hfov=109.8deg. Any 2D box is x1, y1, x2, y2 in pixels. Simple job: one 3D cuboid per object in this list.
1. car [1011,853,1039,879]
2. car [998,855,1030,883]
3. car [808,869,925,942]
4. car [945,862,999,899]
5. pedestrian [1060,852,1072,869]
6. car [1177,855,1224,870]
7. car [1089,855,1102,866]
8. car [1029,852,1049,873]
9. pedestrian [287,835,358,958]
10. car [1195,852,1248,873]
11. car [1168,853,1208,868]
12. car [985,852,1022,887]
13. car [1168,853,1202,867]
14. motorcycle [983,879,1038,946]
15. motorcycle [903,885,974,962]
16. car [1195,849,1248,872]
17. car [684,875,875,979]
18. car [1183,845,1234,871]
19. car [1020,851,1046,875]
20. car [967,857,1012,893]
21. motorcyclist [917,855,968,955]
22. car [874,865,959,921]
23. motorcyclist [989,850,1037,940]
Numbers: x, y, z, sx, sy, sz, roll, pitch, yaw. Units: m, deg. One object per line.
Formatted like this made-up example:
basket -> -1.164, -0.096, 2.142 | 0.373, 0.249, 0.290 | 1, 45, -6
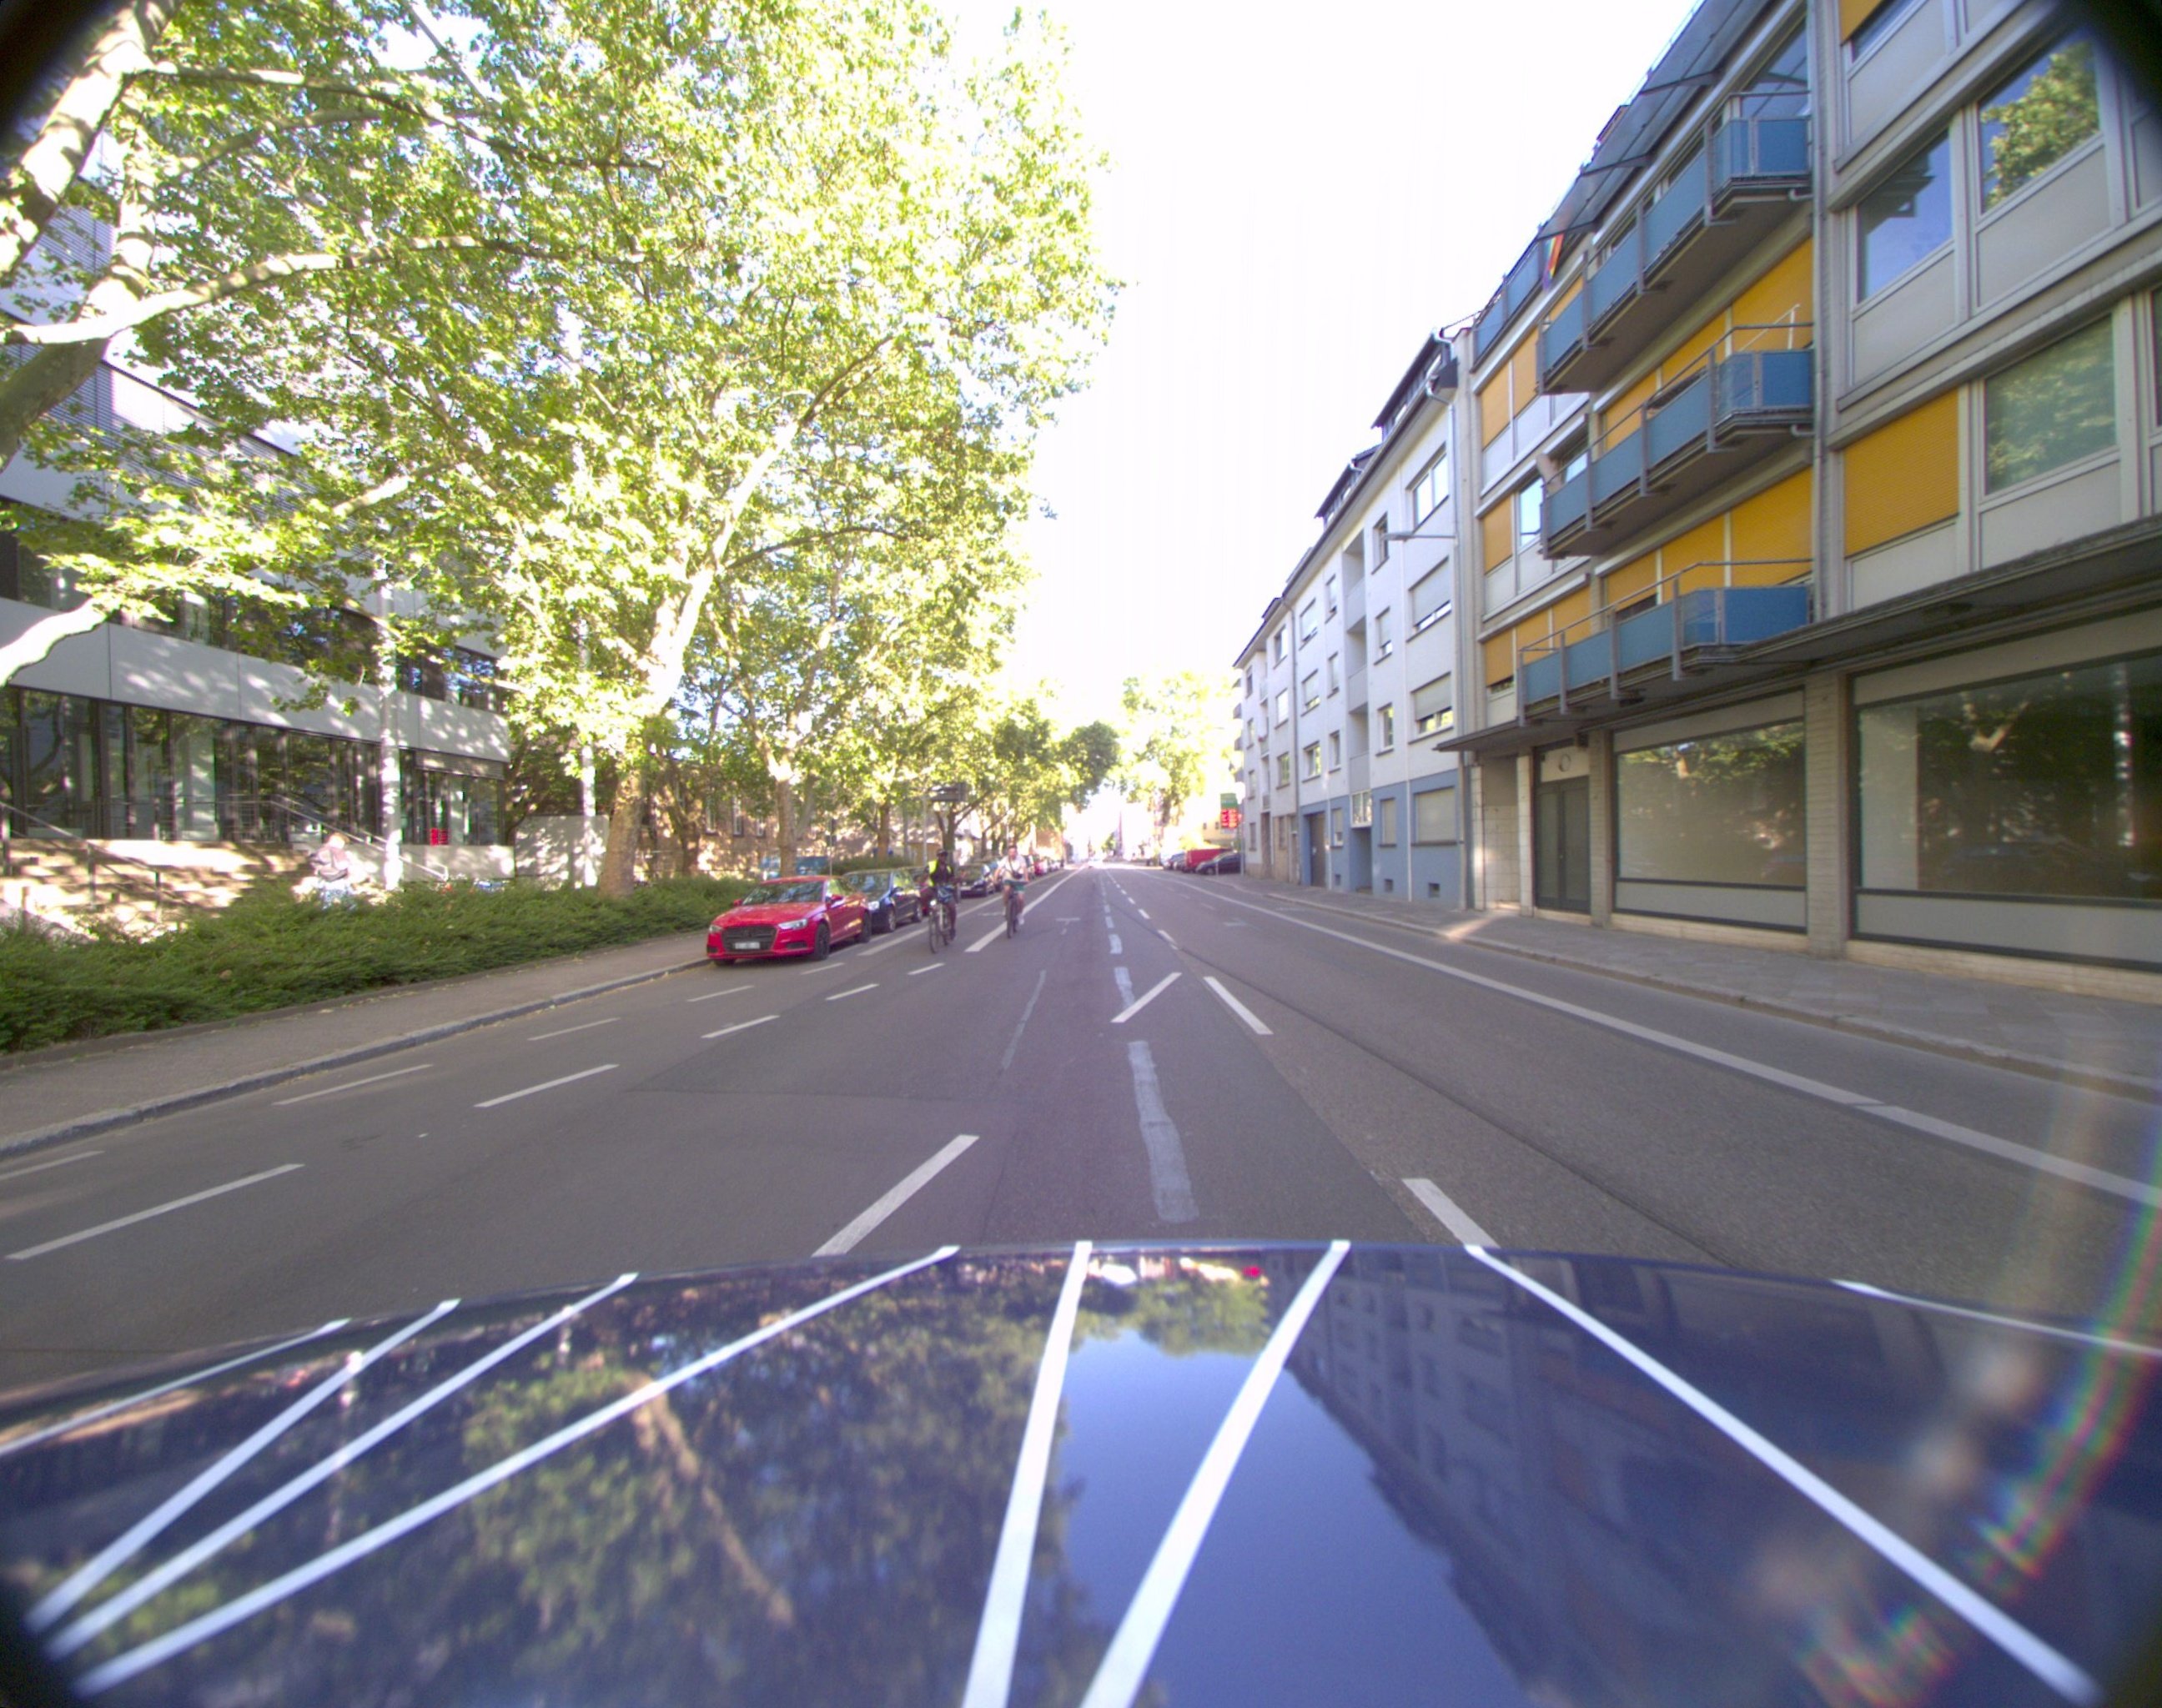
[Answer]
car -> -4.040, 0.814, 55.236 | 1.634, 1.725, 3.769 | -2, 1, 0
car -> -4.356, 0.939, 50.109 | 1.634, 1.604, 4.576 | -2, 1, 0
car -> -5.052, 1.162, 18.408 | 1.669, 1.410, 3.697 | -2, 1, 1
car -> -4.695, 1.111, 33.233 | 1.692, 1.414, 3.923 | -2, 1, 0
pedestrian -> -1.475, 0.659, 76.534 | 0.827, 1.727, 0.894 | -2, 1, 29
car -> 9.810, 0.691, 62.585 | 3.687, 1.122, 1.345 | -2, 1, 2
car -> 2.051, 0.900, 106.878 | 1.752, 1.423, 4.266 | -2, 0, 1
car -> -3.905, 0.806, 71.000 | 1.599, 1.835, 3.769 | -2, 1, 0
pedestrian -> -12.771, 0.699, 12.809 | 0.552, 2.002, 0.562 | -2, 1, -11
car -> 10.089, 0.588, 54.726 | 3.508, 1.380, 1.490 | -2, 1, 2
car -> 10.265, 0.625, 73.026 | 3.687, 1.238, 1.345 | -2, 1, 2
car -> -4.457, 0.853, 44.237 | 1.634, 1.781, 4.576 | -2, 1, 0
car -> 10.321, 0.580, 75.464 | 3.271, 1.238, 1.345 | -2, 1, 2
motorcycle -> -1.389, 1.137, 15.399 | 0.865, 1.161, 1.929 | -2, 1, 1
motorcycle -> -2.510, 1.196, 13.665 | 0.799, 1.125, 2.236 | -2, 1, 1
car -> 10.532, 0.483, 57.095 | 3.687, 1.503, 1.490 | -2, 1, 2
car -> -5.163, 1.179, 13.655 | 1.794, 1.384, 3.999 | -2, 1, 0
car -> 10.058, 0.319, 59.940 | 3.688, 1.897, 1.490 | -2, -1, -1
car -> -4.172, 0.722, 66.089 | 1.915, 1.940, 3.769 | -2, 1, 0
car -> -4.520, 0.992, 38.104 | 1.634, 1.569, 4.231 | -2, 1, 0
motorcyclist -> -2.508, 0.901, 13.830 | 0.719, 1.733, 0.751 | -2, 1, 1
car -> -5.015, 1.132, 23.682 | 1.692, 1.441, 3.923 | -2, 1, 1
motorcyclist -> -1.391, 0.823, 15.760 | 0.833, 1.778, 0.913 | -2, 1, 1
